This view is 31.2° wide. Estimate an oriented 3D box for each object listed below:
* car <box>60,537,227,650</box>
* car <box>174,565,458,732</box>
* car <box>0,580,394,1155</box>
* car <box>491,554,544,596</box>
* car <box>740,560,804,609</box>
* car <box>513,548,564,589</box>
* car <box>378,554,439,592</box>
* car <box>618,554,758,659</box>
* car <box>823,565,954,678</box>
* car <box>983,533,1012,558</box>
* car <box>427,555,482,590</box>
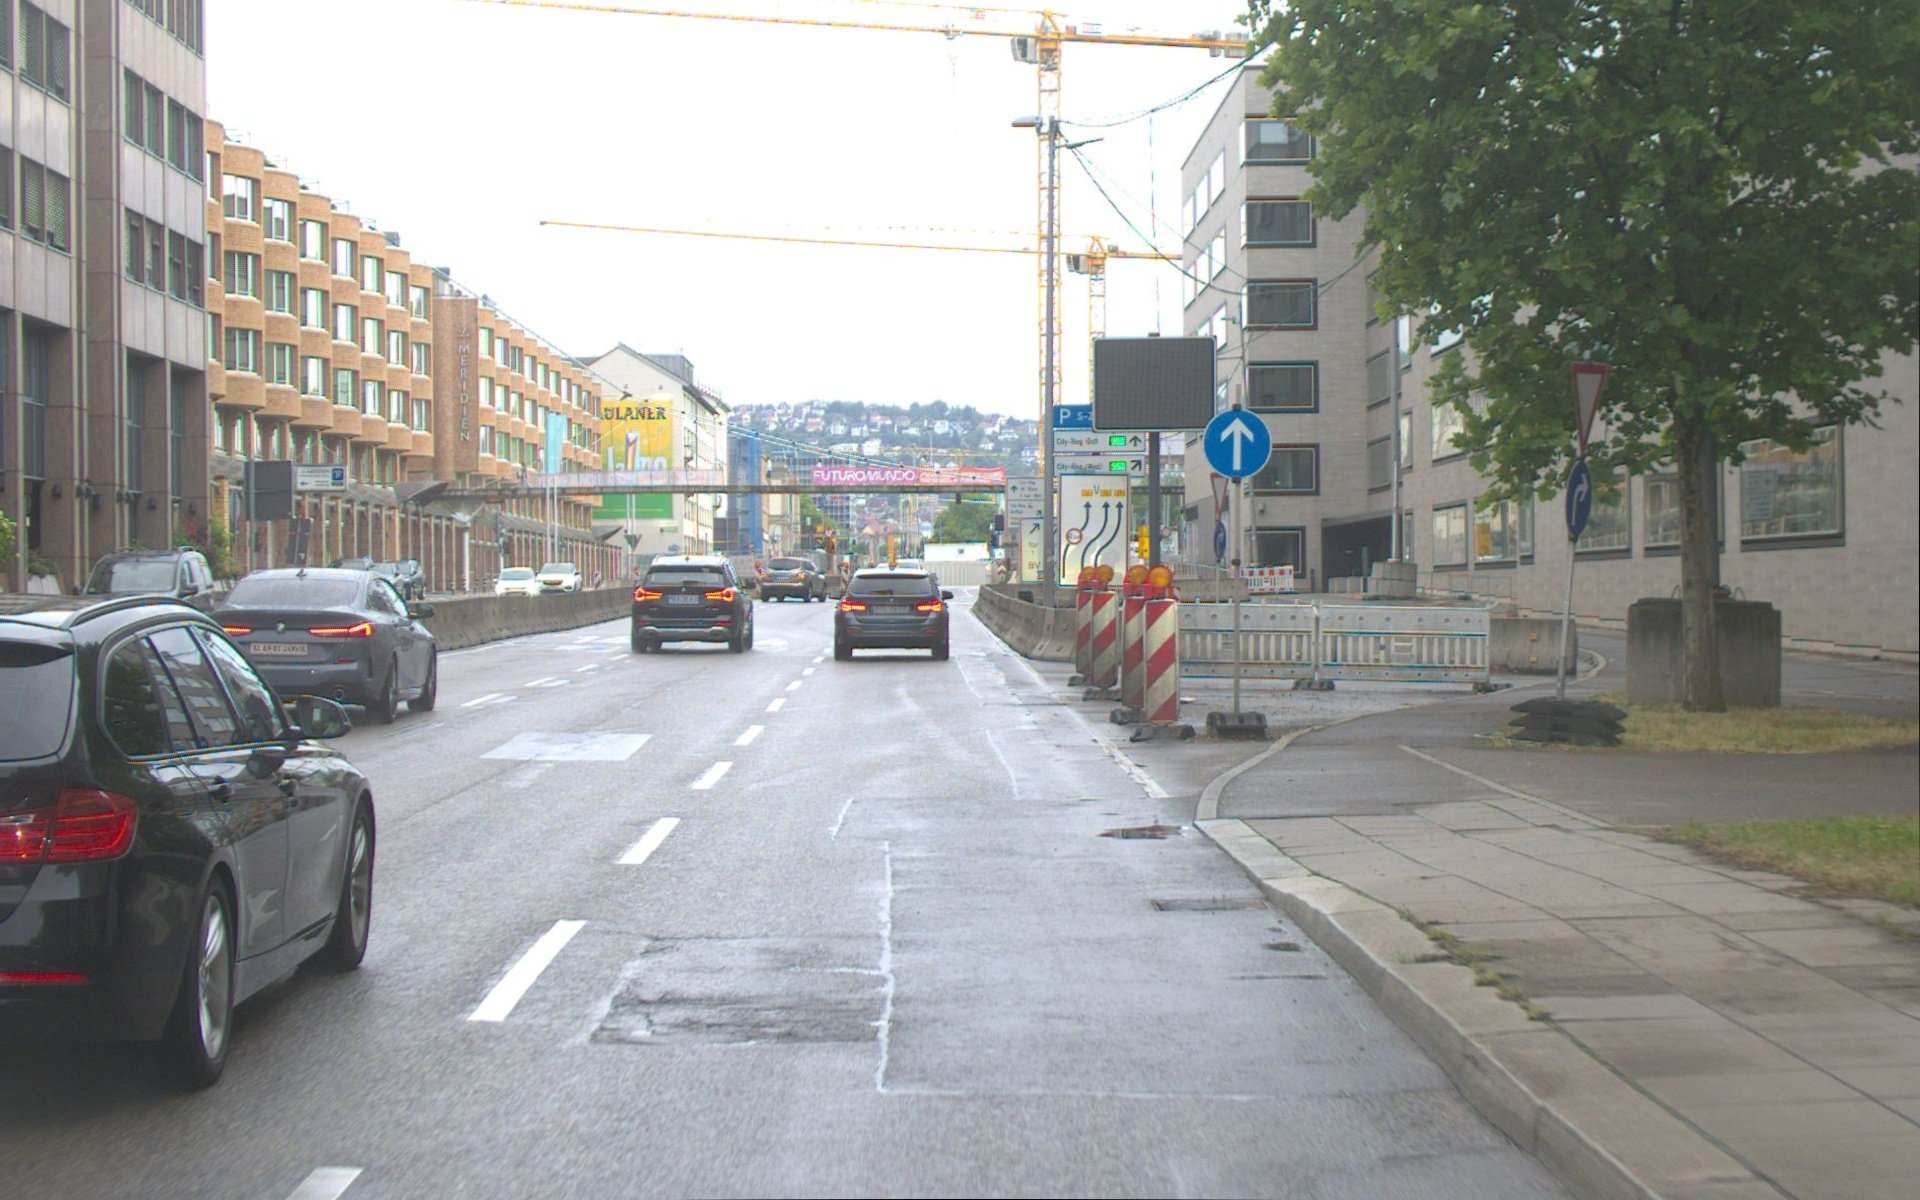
[{"bbox_3d":[-13.571,-0.133,57.364,1.721,1.764,4.425,-1,1,-1],"label":"car"},{"bbox_3d":[-6.048,0.411,32.770,1.790,1.421,4.384,-1,1,1],"label":"car"},{"bbox_3d":[-3.024,0.674,11.116,1.791,1.421,4.614,1,1,-3],"label":"car"},{"bbox_3d":[-17.096,-0.968,132.954,1.602,1.437,3.658,-1,2,-1],"label":"car"},{"bbox_3d":[-6.822,-0.566,125.140,1.900,1.687,4.000,-1,1,2],"label":"car"},{"bbox_3d":[-18.841,-1.419,153.827,1.820,1.613,4.192,-2,2,-2],"label":"car"},{"bbox_3d":[-24.296,-1.199,151.582,1.993,1.614,4.318,-1,1,0],"label":"car"},{"bbox_3d":[-4.648,0.086,59.269,1.900,1.687,4.000,-1,1,2],"label":"car"},{"bbox_3d":[-1.100,0.306,54.839,1.900,1.687,4.000,-1,1,1],"label":"car"},{"bbox_3d":[2.663,-3.825,241.908,1.900,1.687,4.000,-1,1,2],"label":"car"},{"bbox_3d":[-24.746,-1.366,168.388,1.993,1.614,4.690,-1,1,0],"label":"car"}]
